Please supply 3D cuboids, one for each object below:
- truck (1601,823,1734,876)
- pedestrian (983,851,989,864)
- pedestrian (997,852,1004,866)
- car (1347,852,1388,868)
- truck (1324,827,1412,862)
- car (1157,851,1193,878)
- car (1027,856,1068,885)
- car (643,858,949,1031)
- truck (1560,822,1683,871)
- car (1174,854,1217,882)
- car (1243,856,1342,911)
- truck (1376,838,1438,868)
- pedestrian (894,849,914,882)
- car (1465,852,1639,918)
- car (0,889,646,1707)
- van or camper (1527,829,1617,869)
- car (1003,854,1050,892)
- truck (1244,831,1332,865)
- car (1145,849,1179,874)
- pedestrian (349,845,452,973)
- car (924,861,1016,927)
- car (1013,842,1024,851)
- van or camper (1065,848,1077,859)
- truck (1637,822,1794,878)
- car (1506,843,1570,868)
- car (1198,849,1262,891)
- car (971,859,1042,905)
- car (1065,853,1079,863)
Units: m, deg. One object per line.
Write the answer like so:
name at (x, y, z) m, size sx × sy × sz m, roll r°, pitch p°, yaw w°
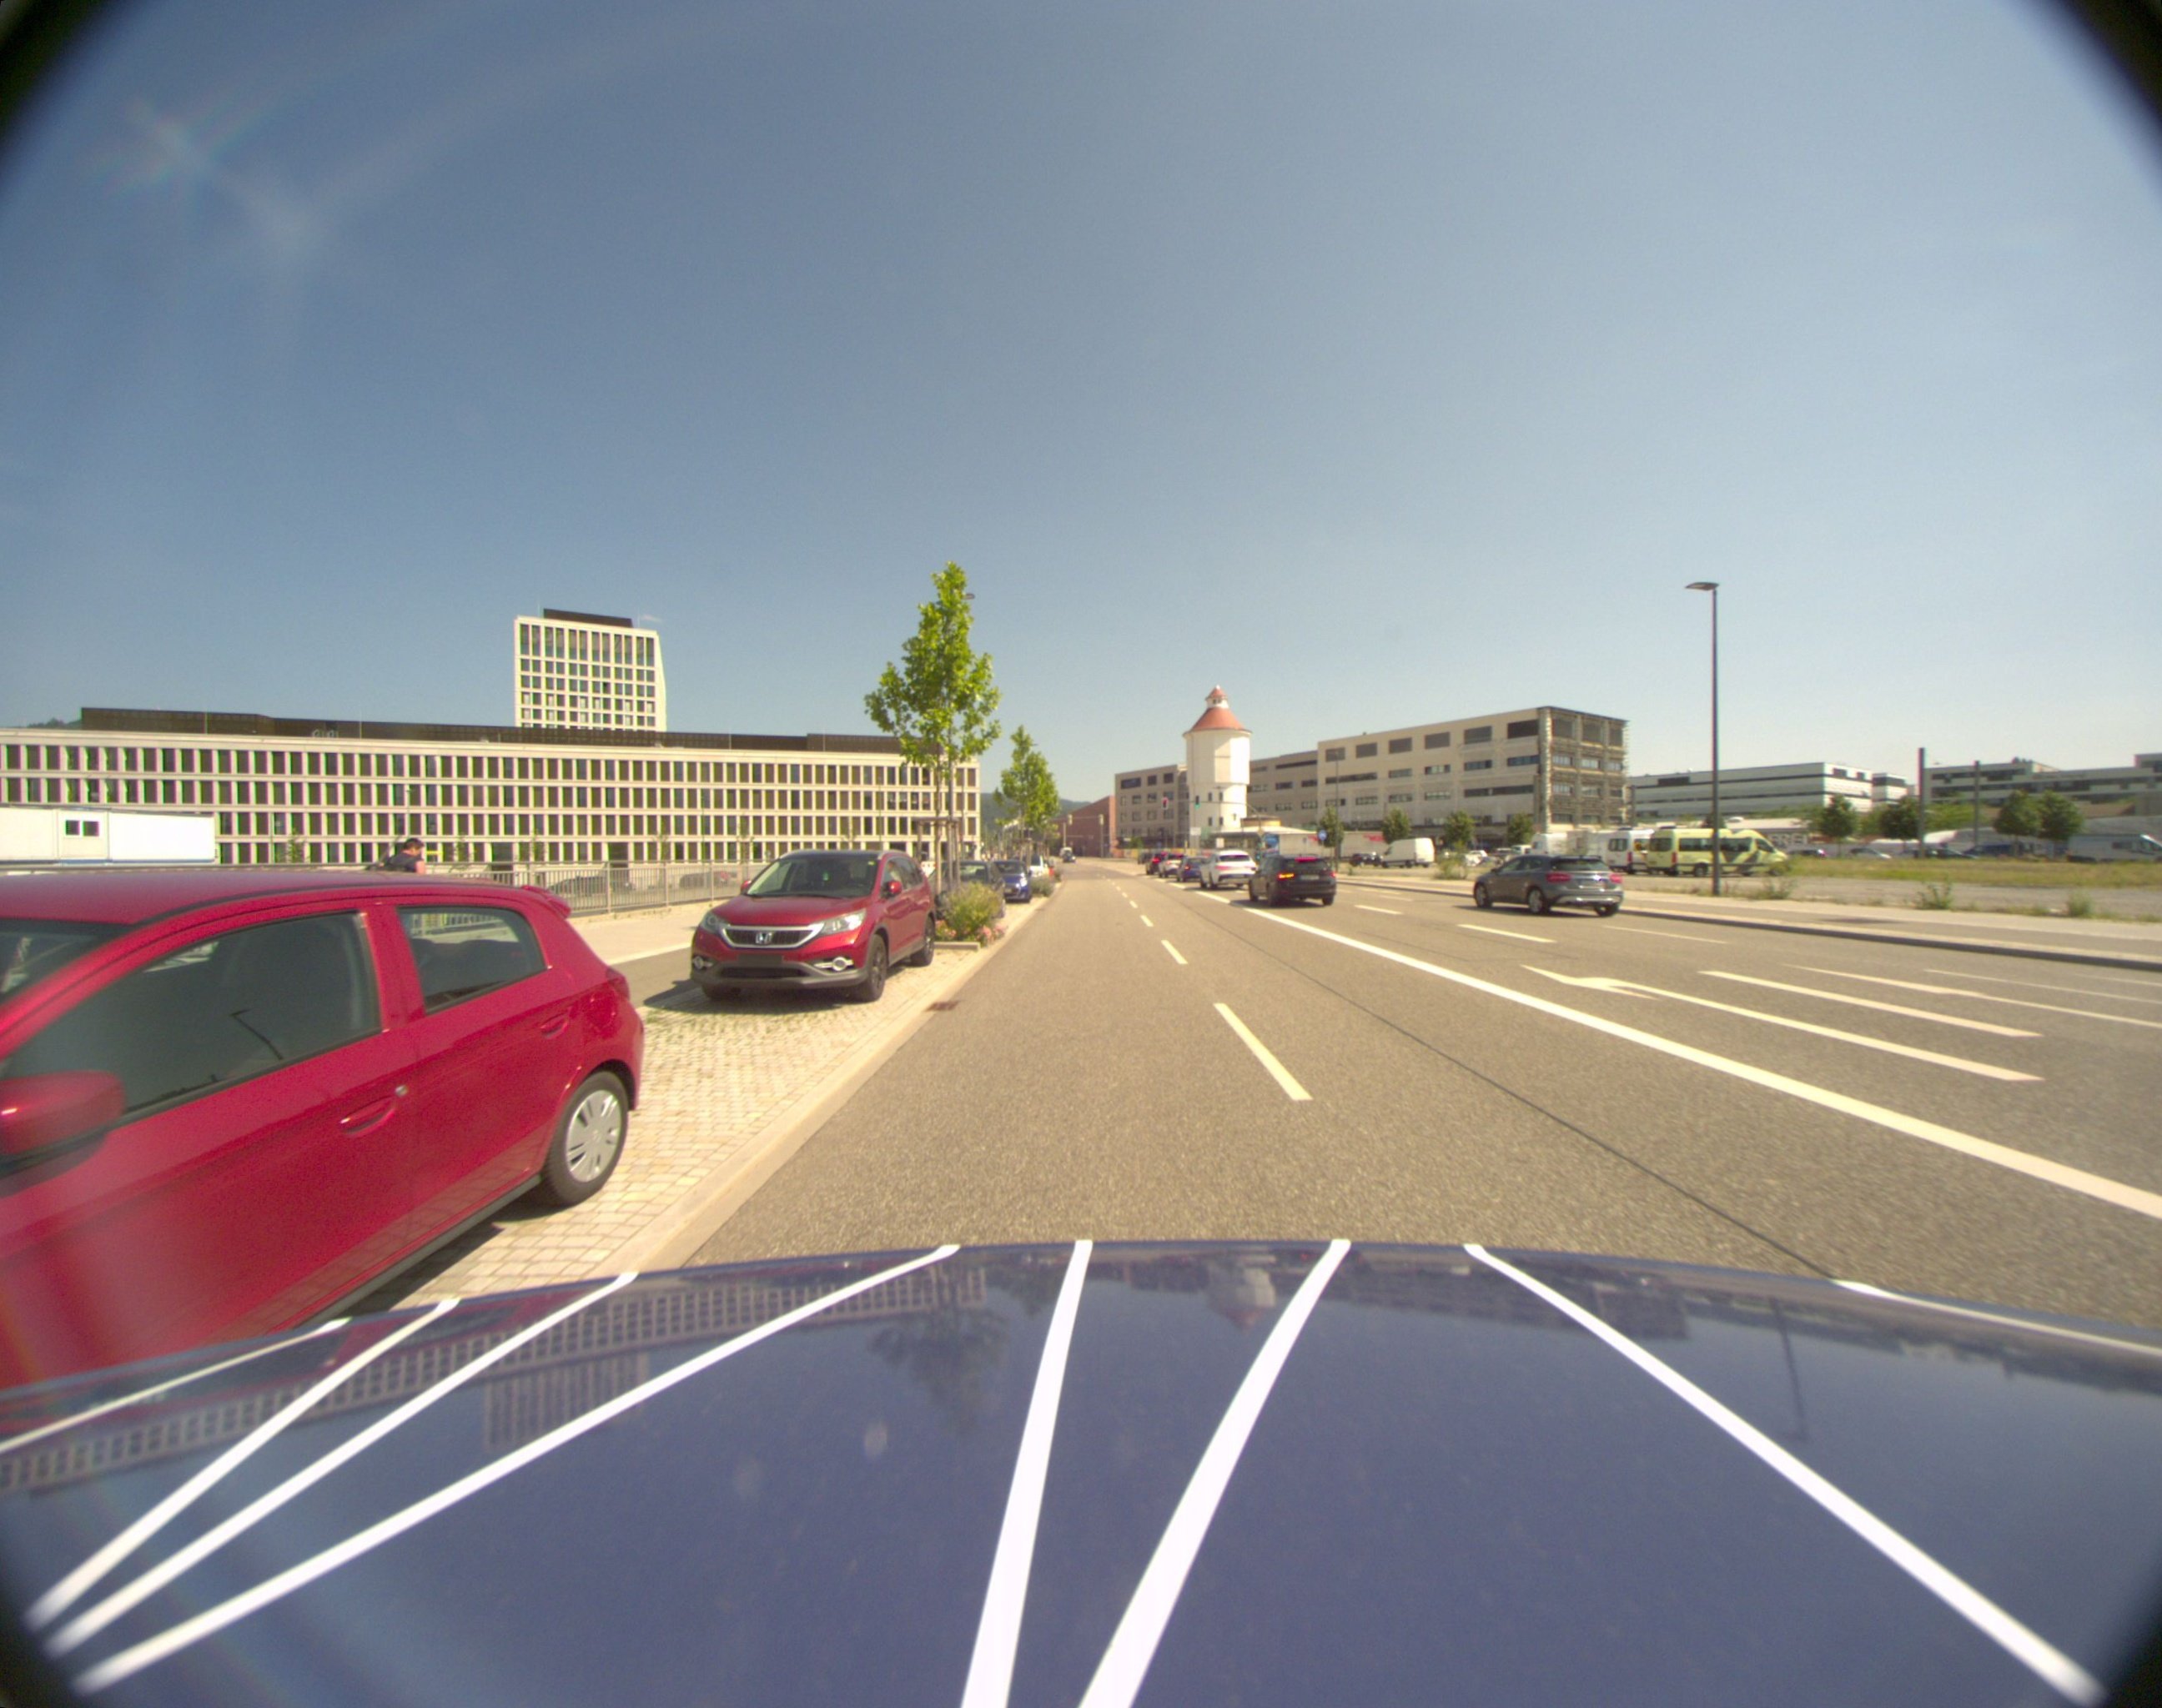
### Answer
truck at (34.675, -0.289, 45.065) m, size 5.849 × 2.809 × 2.570 m, roll -2°, pitch 2°, yaw 2°
pedestrian at (-12.856, 0.490, 103.041) m, size 0.827 × 1.774 × 0.926 m, roll 0°, pitch 2°, yaw -8°
pedestrian at (-10.586, 0.632, 100.094) m, size 0.880 × 1.816 × 1.664 m, roll -1°, pitch 1°, yaw -6°
car at (32.200, 0.645, 85.396) m, size 4.001 × 1.630 × 1.878 m, roll -1°, pitch 1°, yaw -13°
truck at (38.896, -1.333, 102.960) m, size 10.951 × 4.251 × 3.341 m, roll -2°, pitch 2°, yaw -10°
car at (6.218, 0.677, 50.742) m, size 1.783 × 1.672 × 4.098 m, roll 0°, pitch 0°, yaw -1°
car at (-1.805, 0.877, 42.456) m, size 1.998 × 1.510 × 4.000 m, roll -2°, pitch 0°, yaw 1°
car at (-3.056, 0.858, 9.352) m, size 1.913 × 1.607 × 4.549 m, roll 0°, pitch 0°, yaw 2°
truck at (35.428, -0.496, 49.966) m, size 6.160 × 2.885 × 2.570 m, roll -2°, pitch 2°, yaw 2°
car at (6.335, 0.734, 42.548) m, size 1.790 × 1.413 × 4.282 m, roll -2°, pitch 0°, yaw 1°
car at (6.119, 0.807, 22.535) m, size 1.791 × 1.390 × 4.572 m, roll -1°, pitch 0°, yaw 2°
truck at (30.096, -0.097, 70.372) m, size 2.174 × 2.640 × 5.937 m, roll -1°, pitch 1°, yaw -14°
pedestrian at (-8.812, 0.577, 37.841) m, size 0.752 × 1.600 × 0.949 m, roll 2°, pitch 1°, yaw 1°
car at (11.666, 0.692, 19.230) m, size 1.907 × 1.487 × 4.388 m, roll 0°, pitch 0°, yaw 4°
car at (-2.926, 0.932, 1.841) m, size 1.608 × 1.483 × 3.817 m, roll 1°, pitch 0°, yaw -1°
van or camper at (34.968, -0.367, 54.225) m, size 4.912 × 2.646 × 2.260 m, roll -2°, pitch 0°, yaw 1°
car at (-2.510, 0.842, 36.092) m, size 1.877 × 1.618 × 4.876 m, roll -1°, pitch 0°, yaw 0°
truck at (27.345, -0.860, 100.285) m, size 10.987 × 4.045 × 3.296 m, roll -3°, pitch 2°, yaw -17°
car at (6.151, 0.529, 58.445) m, size 1.944 × 1.778 × 4.654 m, roll -2°, pitch 0°, yaw -2°
pedestrian at (-9.440, 0.746, 10.570) m, size 0.733 × 1.696 × 0.651 m, roll -2°, pitch 2°, yaw 2°
car at (-2.691, 0.932, 19.165) m, size 1.624 × 1.470 × 3.824 m, roll 0°, pitch 0°, yaw 2°
car at (-11.973, -1.448, 146.327) m, size 1.811 × 1.499 × 3.996 m, roll -2°, pitch 2°, yaw -8°
van or camper at (-2.228, -0.160, 170.541) m, size 2.159 × 2.400 × 5.678 m, roll -1°, pitch 0°, yaw -6°
truck at (34.931, -0.247, 41.937) m, size 6.654 × 2.809 × 2.602 m, roll -2°, pitch 1°, yaw -3°
car at (34.597, 0.141, 57.610) m, size 3.876 × 1.748 × 1.657 m, roll -2°, pitch 0°, yaw -3°
car at (6.353, 0.639, 32.955) m, size 1.918 × 1.640 × 4.730 m, roll -1°, pitch 1°, yaw 1°
car at (-2.526, 0.927, 26.658) m, size 1.913 × 1.470 × 4.158 m, roll 0°, pitch 0°, yaw 2°
car at (-1.426, 0.600, 118.945) m, size 1.784 × 1.552 × 3.830 m, roll -1°, pitch 0°, yaw -5°
